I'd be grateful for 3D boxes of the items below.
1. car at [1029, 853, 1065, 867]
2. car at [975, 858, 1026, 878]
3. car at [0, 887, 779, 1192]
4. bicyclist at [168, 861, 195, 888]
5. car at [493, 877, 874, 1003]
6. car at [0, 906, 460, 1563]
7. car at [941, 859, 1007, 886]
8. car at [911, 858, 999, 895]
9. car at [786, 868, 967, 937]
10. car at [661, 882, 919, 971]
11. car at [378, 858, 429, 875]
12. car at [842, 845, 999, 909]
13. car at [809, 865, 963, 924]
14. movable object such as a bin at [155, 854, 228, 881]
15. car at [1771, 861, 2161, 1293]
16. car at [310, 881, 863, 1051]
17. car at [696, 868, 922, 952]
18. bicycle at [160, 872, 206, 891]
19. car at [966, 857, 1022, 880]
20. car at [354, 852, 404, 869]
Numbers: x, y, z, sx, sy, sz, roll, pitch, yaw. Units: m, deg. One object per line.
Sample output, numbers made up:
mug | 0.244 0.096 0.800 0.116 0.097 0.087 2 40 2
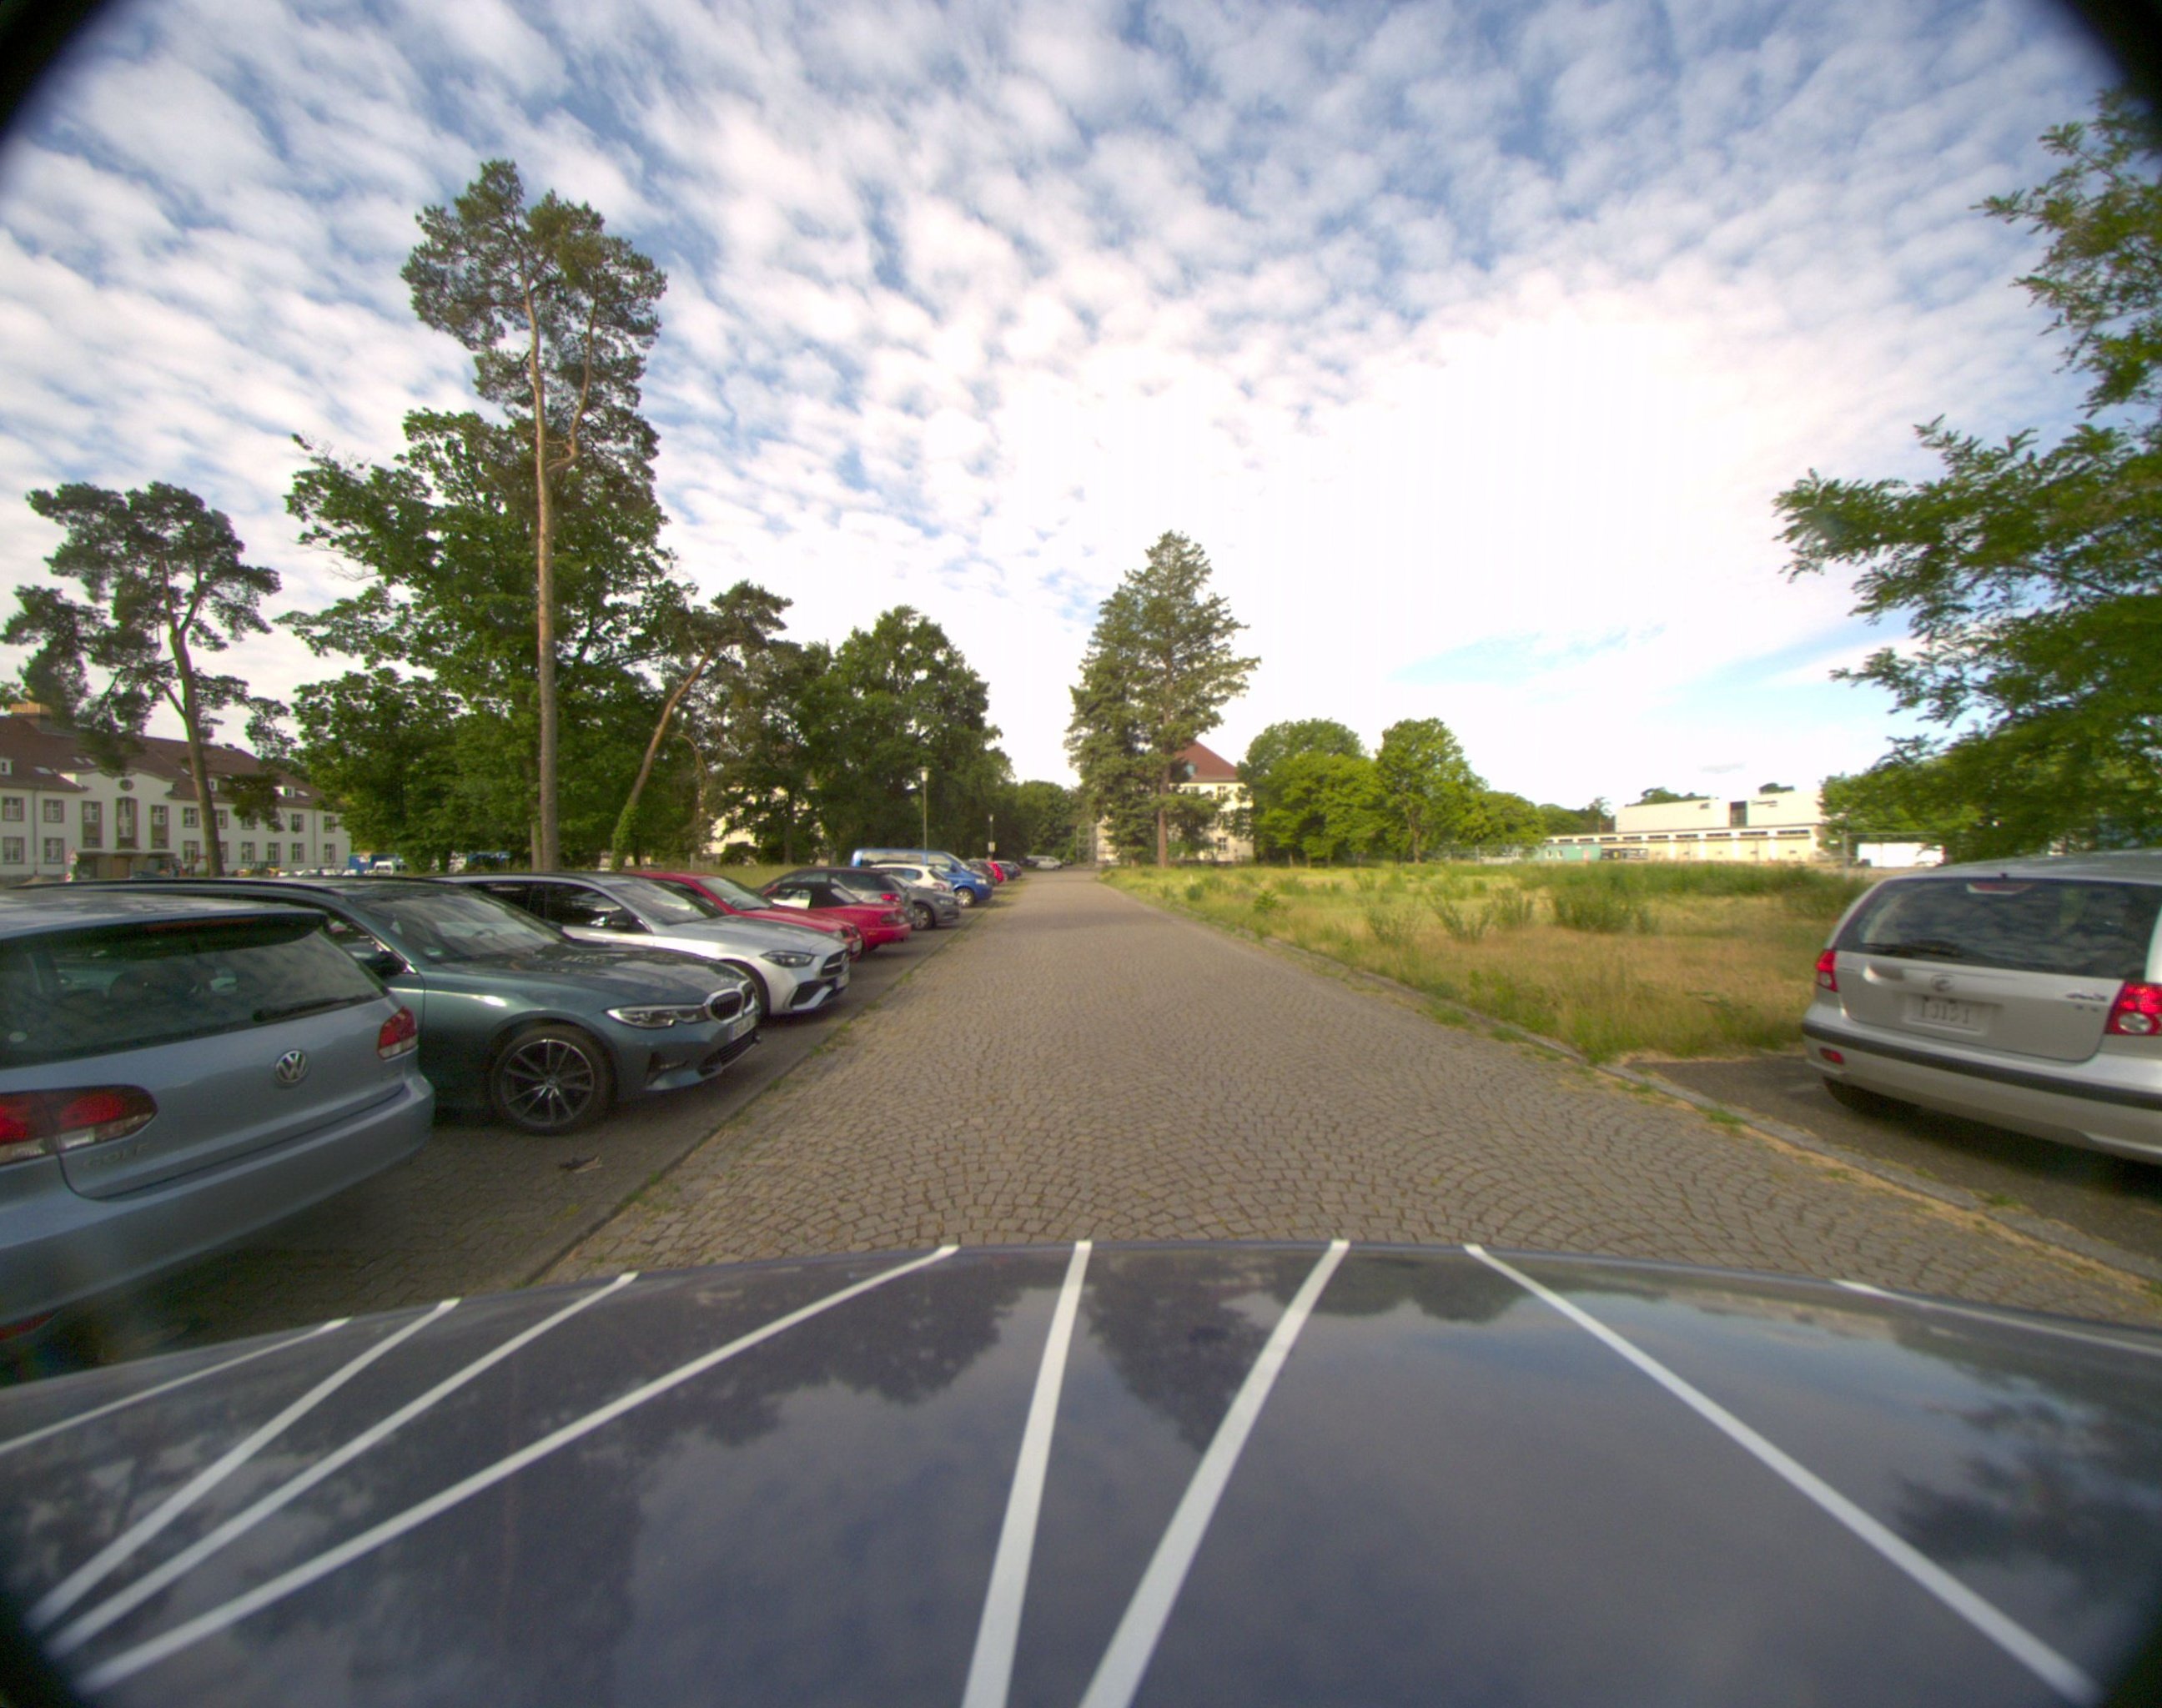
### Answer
car | -4.927 0.837 109.116 5.131 2.002 1.804 -1 0 -4
car | -6.368 1.108 60.471 3.837 1.520 1.674 -1 0 2
car | -4.592 1.016 4.946 4.526 1.474 1.807 -1 0 -5
bicyclist | -59.961 1.365 50.660 0.668 1.724 0.844 -3 1 1
car | -5.040 1.067 10.080 4.118 1.415 1.719 -1 0 -2
car | -4.548 0.979 2.301 3.854 1.462 1.641 -1 0 -5
car | -6.327 1.068 45.160 3.839 1.516 1.580 -1 0 -6
car | -5.704 1.011 34.770 3.839 1.592 1.580 -1 0 -6
car | -4.688 1.098 17.777 3.781 1.457 1.642 -1 0 0
car | -4.573 1.123 12.324 3.555 1.279 1.608 -1 -1 -1
car | -71.173 1.335 79.870 1.847 1.674 3.937 1 0 1
car | -5.406 0.761 26.132 4.955 2.011 2.060 1 0 -1
car | -5.228 1.072 20.712 3.762 1.490 1.581 -1 0 0
movable object such as a bin | -94.045 1.346 80.453 2.000 2.752 5.200 -1 0 -7
car | 5.772 0.820 3.616 3.587 1.467 1.646 -3 1 -5
car | -4.596 1.016 7.635 4.338 1.420 1.766 0 0 -3
car | -5.209 1.046 14.906 3.838 1.494 1.604 -1 0 -2
bicycle | -59.964 1.838 50.748 0.638 1.201 1.981 -1 0 1
car | -6.324 1.039 55.487 3.837 1.609 1.581 -1 0 2
car | -85.165 0.780 92.213 2.218 2.002 4.001 -1 0 3
